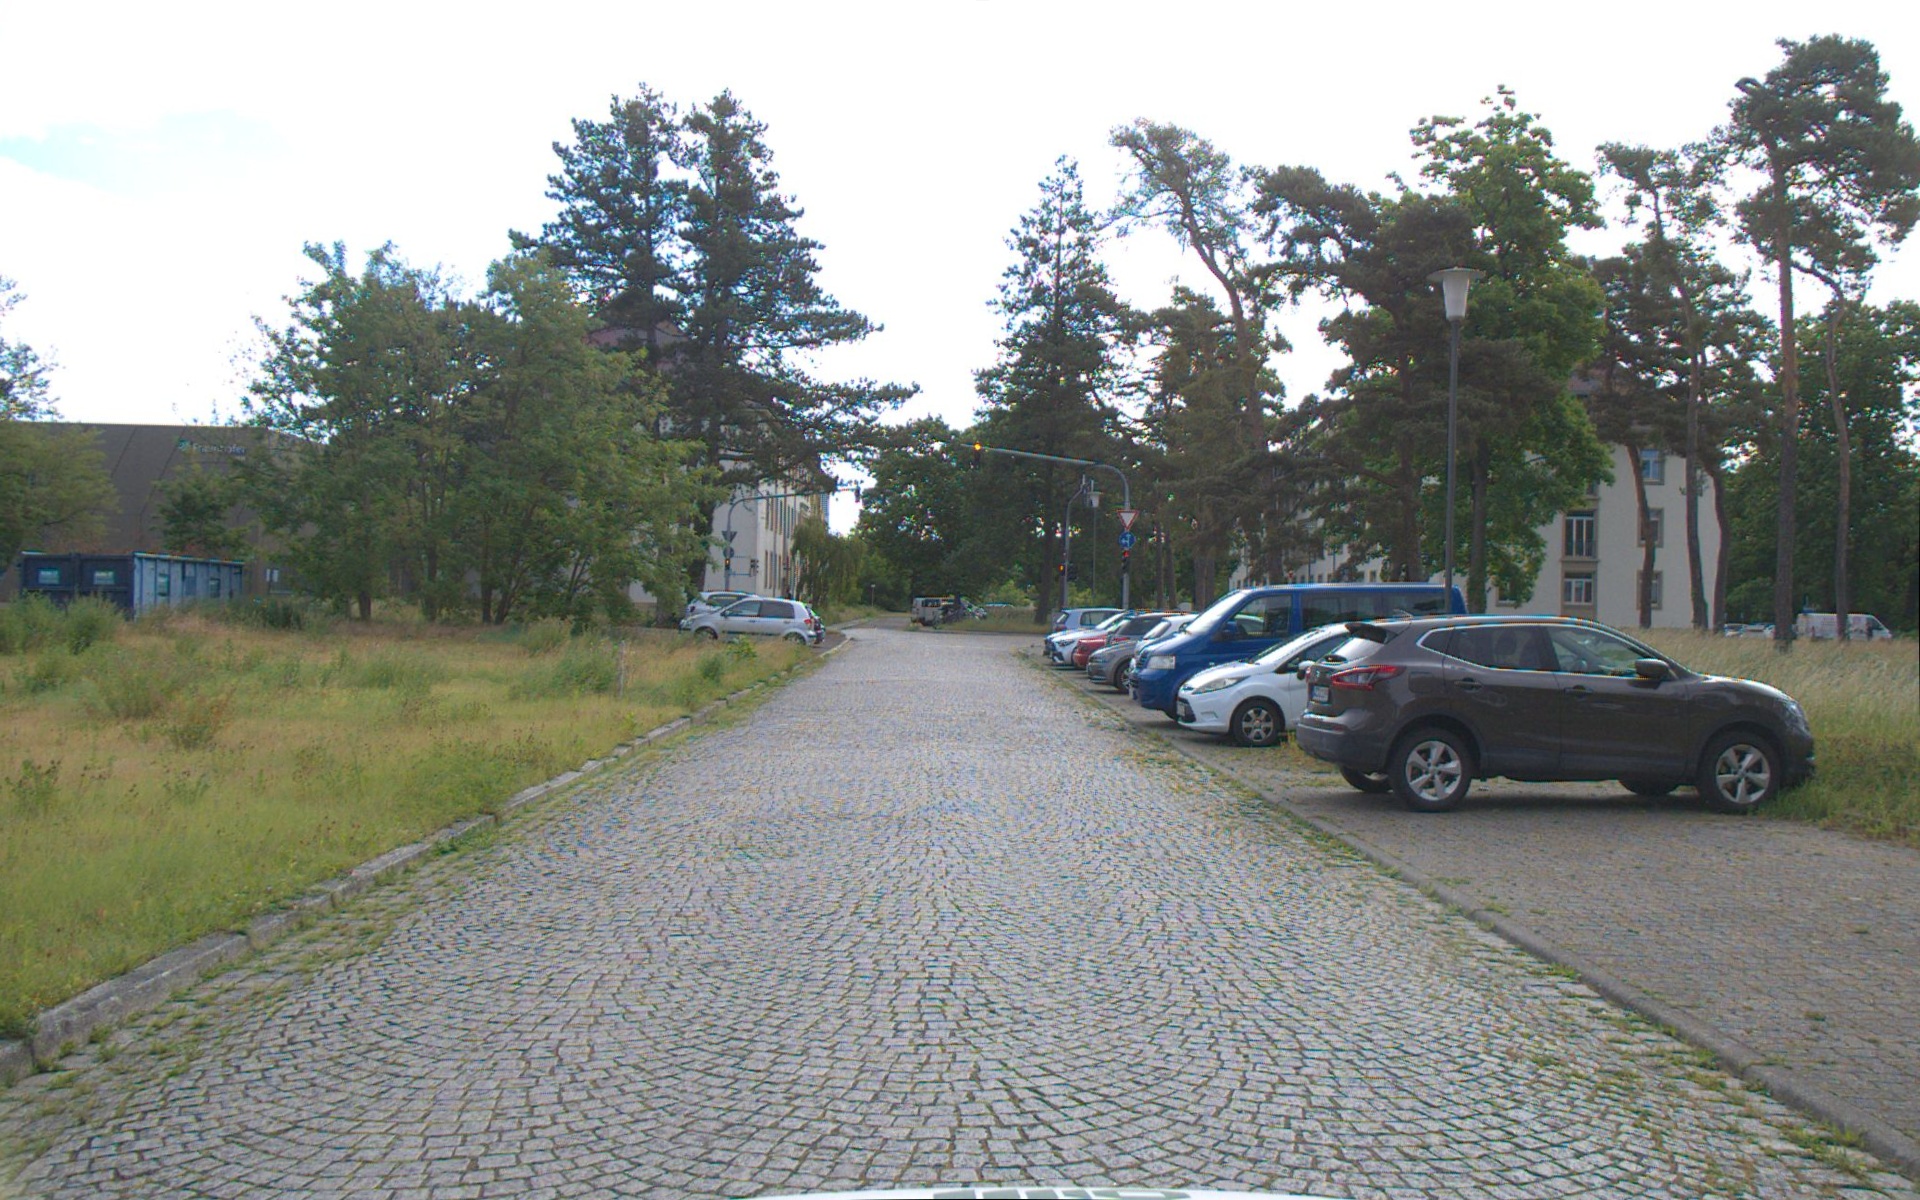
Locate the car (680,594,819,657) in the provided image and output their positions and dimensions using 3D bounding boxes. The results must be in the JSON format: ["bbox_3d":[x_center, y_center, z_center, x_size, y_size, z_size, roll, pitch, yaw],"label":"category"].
[{"bbox_3d":[-5.776,0.697,45.769,3.648,1.506,1.672,3,0,-4],"label":"car"}]

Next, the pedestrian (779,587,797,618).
[{"bbox_3d":[-11.568,0.155,111.177,1.052,1.993,1.121,2,-1,-1],"label":"pedestrian"}]

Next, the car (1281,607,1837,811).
[{"bbox_3d":[5.063,0.886,14.355,4.120,1.623,1.952,0,0,-4],"label":"car"}]

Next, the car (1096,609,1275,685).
[{"bbox_3d":[4.636,0.956,34.328,3.434,1.513,1.742,0,0,-2],"label":"car"}]

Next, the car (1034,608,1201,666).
[{"bbox_3d":[4.204,0.973,44.414,4.154,1.505,1.704,0,0,-12],"label":"car"}]

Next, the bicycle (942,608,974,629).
[{"bbox_3d":[-0.126,1.117,98.971,1.846,1.191,0.664,3,-1,-7],"label":"bicycle"}]

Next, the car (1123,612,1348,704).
[{"bbox_3d":[4.700,0.981,28.556,3.579,1.504,1.765,0,0,-2],"label":"car"}]

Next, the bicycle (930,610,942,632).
[{"bbox_3d":[-1.360,1.175,94.303,0.649,1.191,1.887,2,-1,-1],"label":"bicycle"}]

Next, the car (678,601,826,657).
[{"bbox_3d":[-6.062,0.831,48.357,4.216,1.581,1.809,0,0,-7],"label":"car"}]

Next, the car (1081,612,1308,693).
[{"bbox_3d":[4.403,0.970,31.454,4.046,1.472,1.765,0,0,-1],"label":"car"}]

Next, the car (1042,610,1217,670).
[{"bbox_3d":[4.246,0.988,41.648,4.107,1.462,1.752,0,0,-9],"label":"car"}]

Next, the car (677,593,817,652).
[{"bbox_3d":[-6.547,0.688,51.150,4.216,1.763,1.650,0,0,-7],"label":"car"}]

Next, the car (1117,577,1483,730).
[{"bbox_3d":[4.691,0.724,23.249,4.700,2.039,1.965,0,0,-3],"label":"car"}]

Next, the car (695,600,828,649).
[{"bbox_3d":[-6.418,0.784,53.608,4.216,1.581,1.809,0,0,-7],"label":"car"}]

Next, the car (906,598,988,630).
[{"bbox_3d":[-0.871,0.955,113.758,5.284,2.138,2.171,1,0,-14],"label":"car"}]

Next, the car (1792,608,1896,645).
[{"bbox_3d":[54.144,1.618,101.391,5.193,2.055,2.105,3,-1,-1],"label":"car"}]

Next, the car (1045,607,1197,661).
[{"bbox_3d":[4.545,0.968,46.977,4.056,1.489,1.631,0,0,-7],"label":"car"}]

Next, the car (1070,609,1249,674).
[{"bbox_3d":[4.701,0.975,39.298,4.023,1.502,1.683,0,0,-3],"label":"car"}]

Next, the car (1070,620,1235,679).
[{"bbox_3d":[4.259,1.097,36.943,3.513,1.244,1.628,0,0,0],"label":"car"}]

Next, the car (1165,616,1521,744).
[{"bbox_3d":[4.721,0.972,20.703,4.017,1.504,1.720,0,0,-4],"label":"car"}]
